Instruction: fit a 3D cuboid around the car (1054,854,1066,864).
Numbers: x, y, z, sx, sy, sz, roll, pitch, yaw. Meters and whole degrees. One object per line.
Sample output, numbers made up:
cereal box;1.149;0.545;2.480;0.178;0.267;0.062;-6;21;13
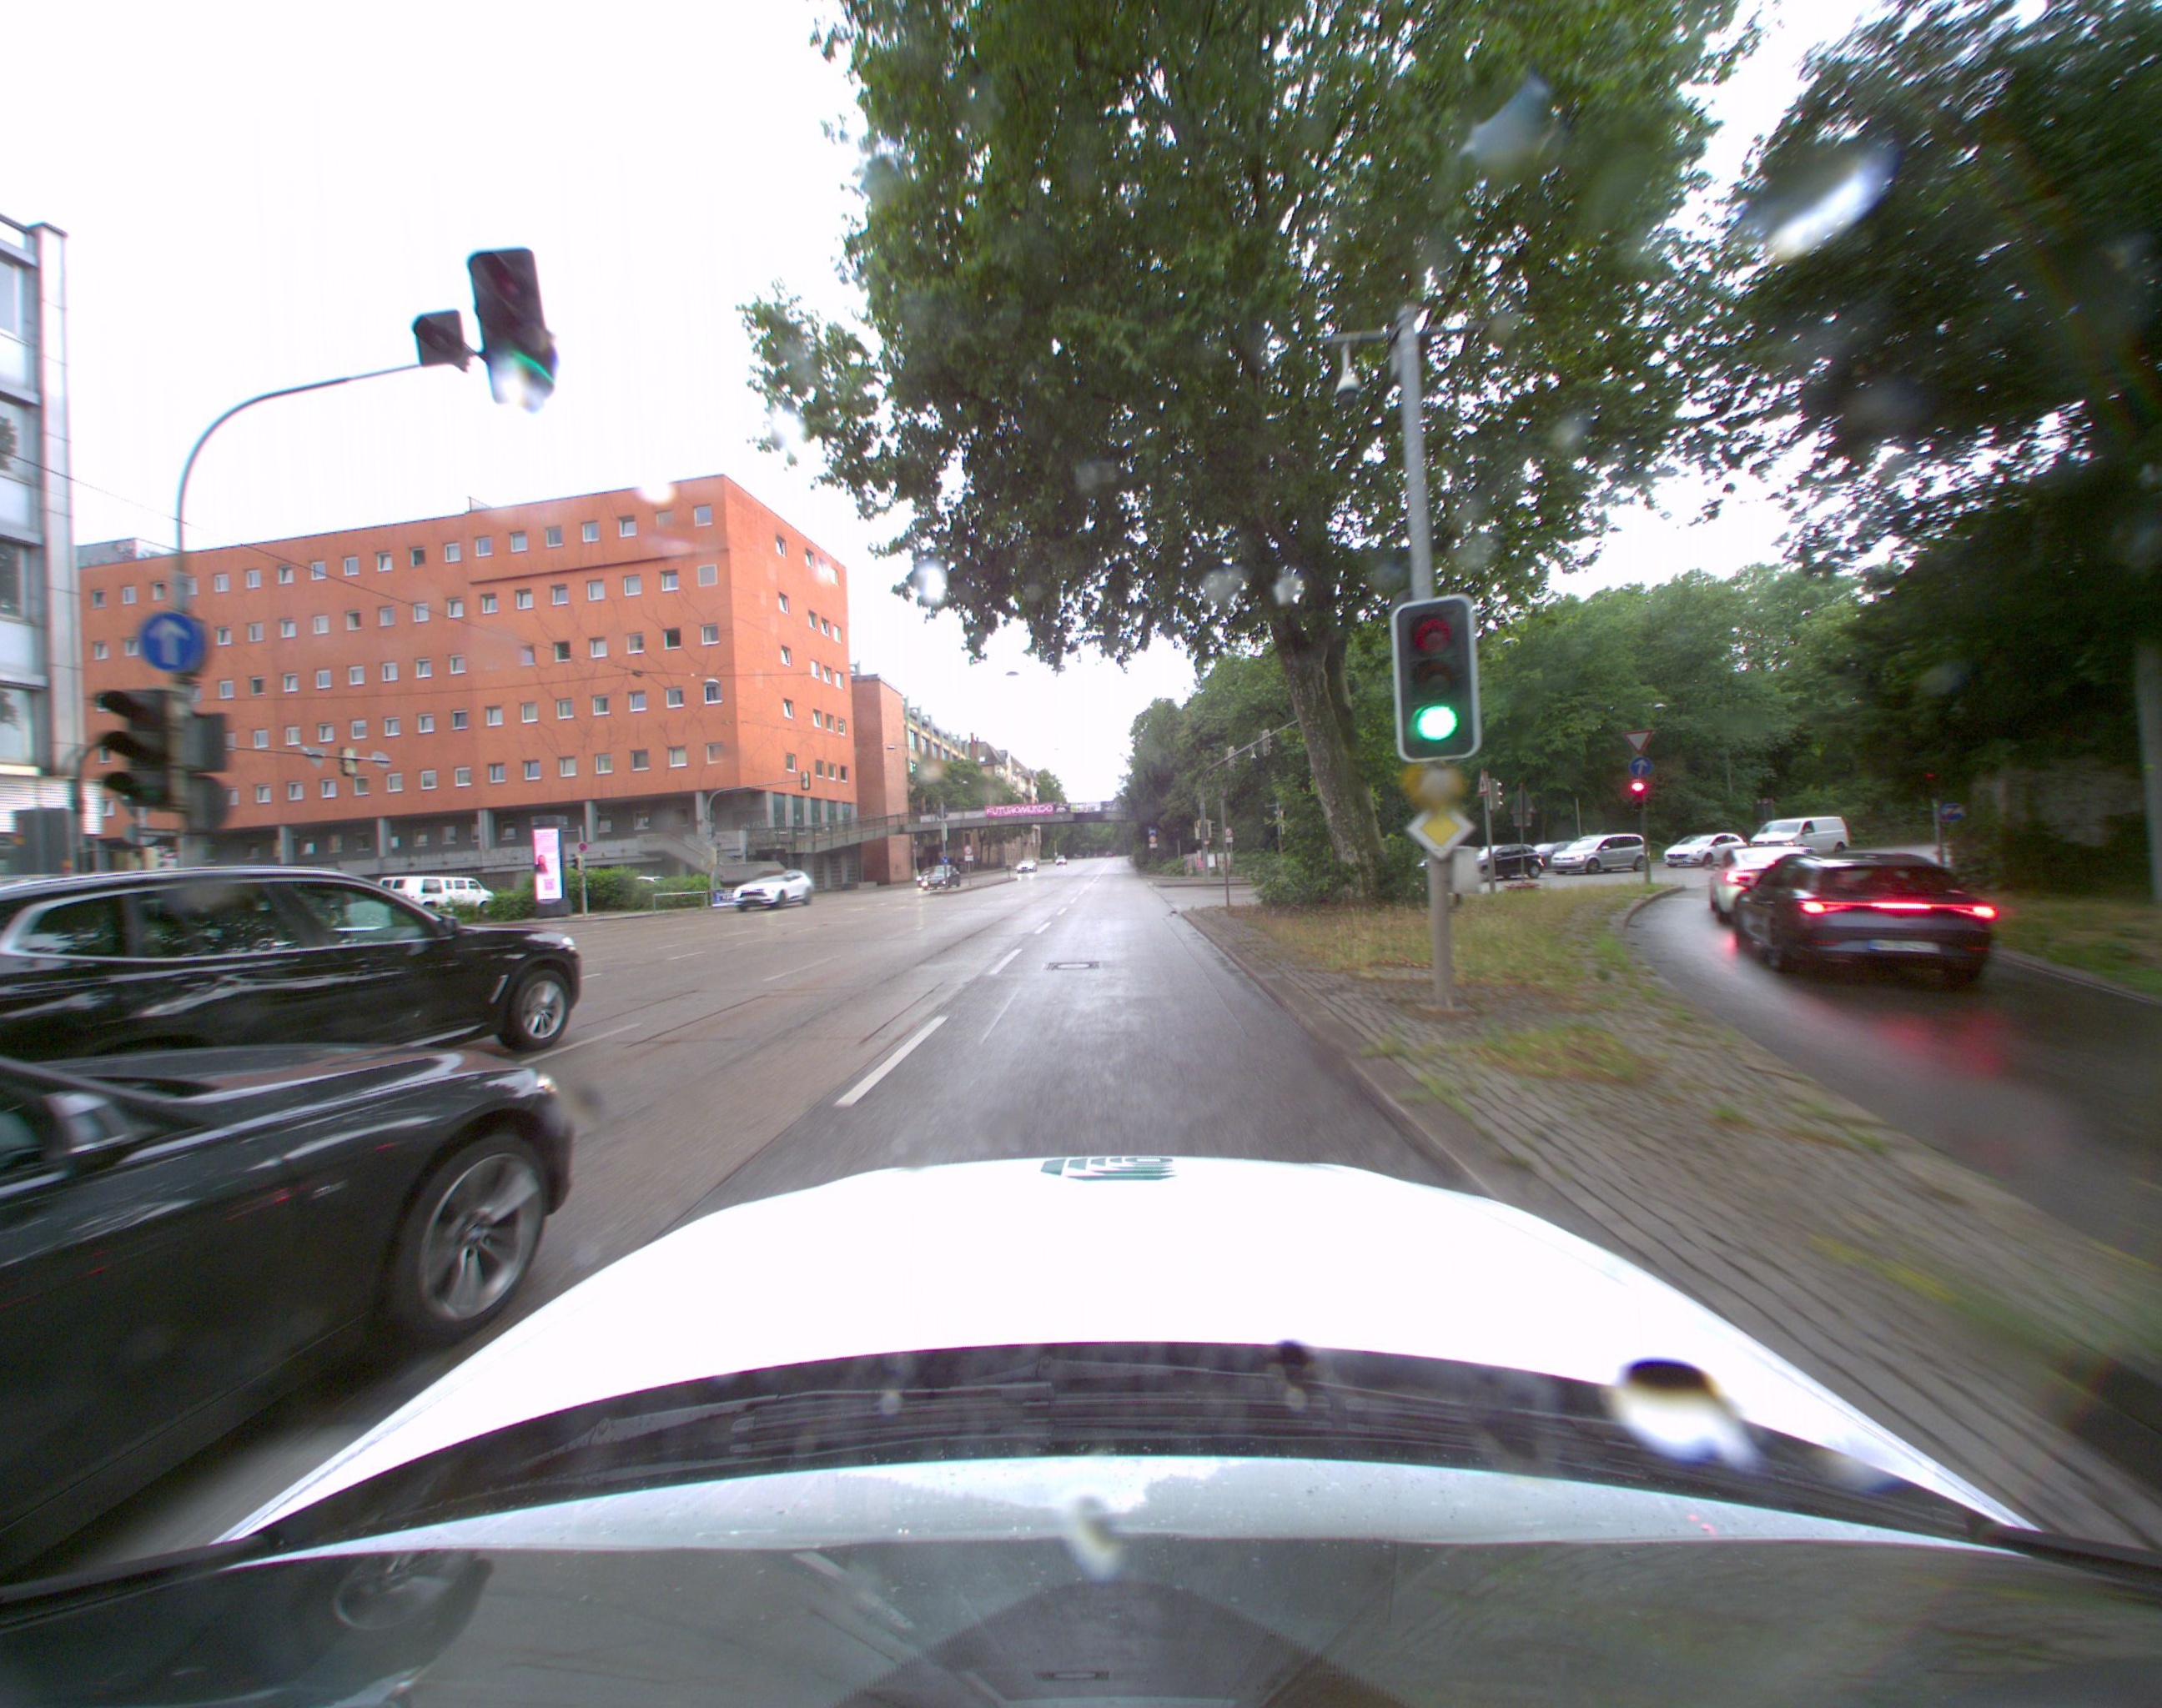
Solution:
car;-3.407;0.862;135.292;1.594;1.499;3.714;-4;-1;3

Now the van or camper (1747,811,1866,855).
van or camper;34.604;-1.007;38.859;4.859;1.947;1.897;-1;-1;-16

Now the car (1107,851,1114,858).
car;8.312;0.148;229.336;1.997;1.643;4.376;-3;0;1

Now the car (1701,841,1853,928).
car;13.807;0.480;16.423;1.834;1.448;4.648;2;2;35

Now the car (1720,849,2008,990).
car;9.717;0.644;10.538;1.731;1.403;4.442;1;1;31

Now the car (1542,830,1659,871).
car;22.262;-0.146;34.947;4.203;1.680;1.898;0;-1;-15

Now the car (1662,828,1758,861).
car;28.575;-0.411;37.010;3.864;1.461;1.647;0;-1;-20

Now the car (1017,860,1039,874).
car;-5.891;1.395;90.492;1.823;1.393;4.408;-4;-1;3

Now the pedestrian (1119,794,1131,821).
pedestrian;3.959;-4.232;73.834;0.952;2.345;1.006;0;-1;-3

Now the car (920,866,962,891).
car;-8.703;1.505;50.964;1.676;1.436;3.865;-3;-1;3

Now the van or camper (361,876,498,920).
van or camper;-33.203;2.185;41.756;2.114;1.977;5.465;-1;0;8

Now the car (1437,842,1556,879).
car;16.880;0.251;33.131;4.193;1.460;1.784;0;-1;-15

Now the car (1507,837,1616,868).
car;22.602;-0.072;38.350;4.439;1.402;1.820;0;0;-15

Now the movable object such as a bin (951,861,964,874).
movable object such as a bin;-16.065;1.735;105.988;1.293;1.518;1.215;-3;0;3

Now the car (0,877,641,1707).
car;-2.877;0.865;1.203;1.769;1.458;4.481;-3;0;3

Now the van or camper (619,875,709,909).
van or camper;-23.145;2.074;45.293;3.965;1.627;1.918;-3;0;7

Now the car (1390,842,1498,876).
car;16.402;0.218;36.868;4.205;1.440;1.940;0;0;-15

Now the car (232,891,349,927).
car;-40.792;2.791;42.172;1.699;1.612;4.097;-1;0;9

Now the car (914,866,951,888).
car;-11.325;1.734;62.218;1.701;1.464;4.046;-3;-1;5

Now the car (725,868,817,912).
car;-13.142;1.487;34.863;1.881;1.610;4.461;-3;-1;4

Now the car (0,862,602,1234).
car;-5.636;0.898;5.615;1.801;1.656;4.449;-1;0;4
